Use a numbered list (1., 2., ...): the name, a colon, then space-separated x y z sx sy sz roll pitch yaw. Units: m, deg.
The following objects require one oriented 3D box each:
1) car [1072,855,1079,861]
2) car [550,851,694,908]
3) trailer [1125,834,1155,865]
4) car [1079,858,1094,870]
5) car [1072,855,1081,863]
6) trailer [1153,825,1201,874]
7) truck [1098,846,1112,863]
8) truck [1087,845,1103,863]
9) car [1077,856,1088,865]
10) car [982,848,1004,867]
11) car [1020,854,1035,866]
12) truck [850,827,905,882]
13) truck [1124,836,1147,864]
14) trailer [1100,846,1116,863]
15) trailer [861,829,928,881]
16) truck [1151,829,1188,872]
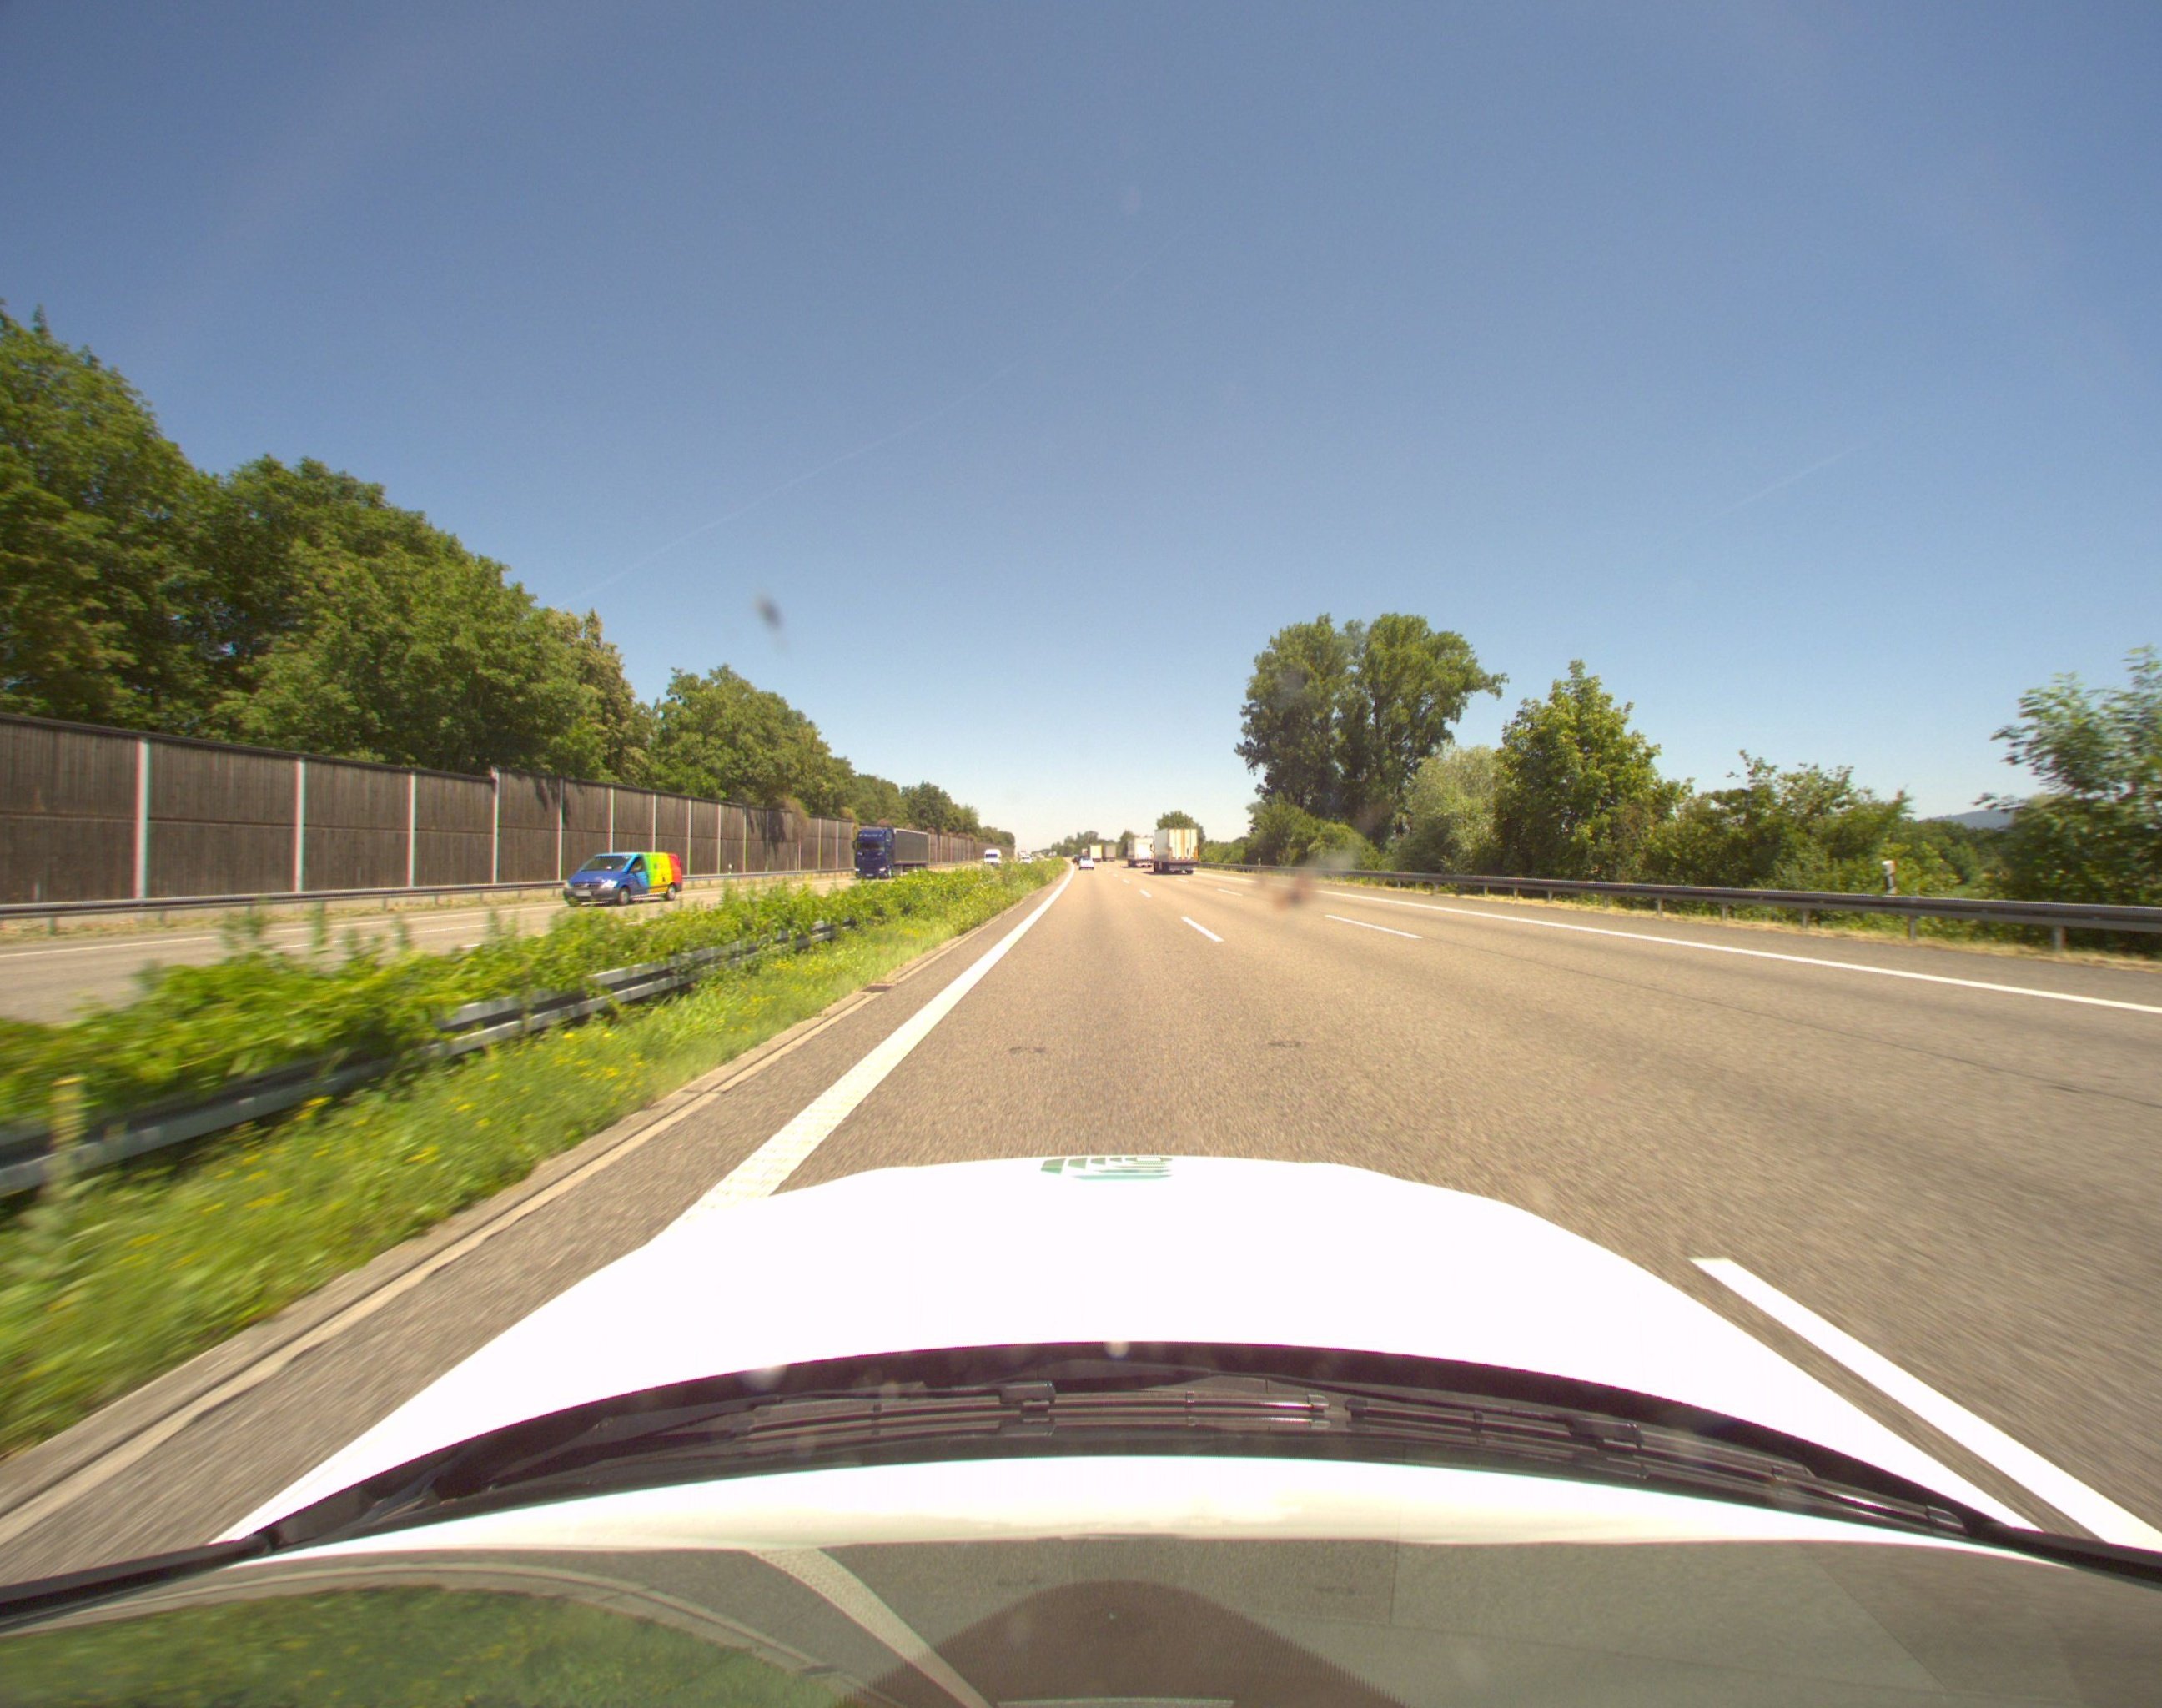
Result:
1. car: -1.474 1.112 212.654 1.850 1.617 3.998 -1 0 -1
2. car: -16.695 0.876 30.087 1.987 1.880 5.958 -1 0 0
3. trailer: 8.173 -0.534 114.827 2.700 4.088 14.139 0 0 -2
4. car: 0.659 1.218 101.605 1.850 1.486 3.998 -1 0 -1
5. car: -0.871 1.104 171.279 1.850 1.617 3.998 -1 0 -1
6. trailer: 8.656 -0.368 74.655 2.949 4.106 12.531 -1 0 0
7. truck: 6.371 0.182 215.882 2.687 4.216 7.823 0 -1 -5
8. truck: 3.206 -0.037 192.753 2.701 4.086 13.456 0 -1 -3
9. car: 0.181 1.207 144.571 1.850 1.617 3.998 -1 0 -1
10. car: -11.929 0.428 111.105 2.158 2.540 6.788 1 0 0
11. car: -8.198 0.892 124.866 1.989 1.720 5.023 1 0 0
12. truck: -16.039 0.074 64.611 2.890 4.092 6.115 0 -1 -1
13. truck: 8.000 -0.528 120.870 2.700 4.088 6.959 0 0 -2
14. trailer: 6.908 0.141 209.815 2.699 4.216 13.187 0 -1 -5
15. trailer: -16.063 0.129 71.412 2.890 4.092 13.328 0 0 0
16. truck: 8.744 -0.350 81.036 2.949 4.106 6.206 -1 0 0
